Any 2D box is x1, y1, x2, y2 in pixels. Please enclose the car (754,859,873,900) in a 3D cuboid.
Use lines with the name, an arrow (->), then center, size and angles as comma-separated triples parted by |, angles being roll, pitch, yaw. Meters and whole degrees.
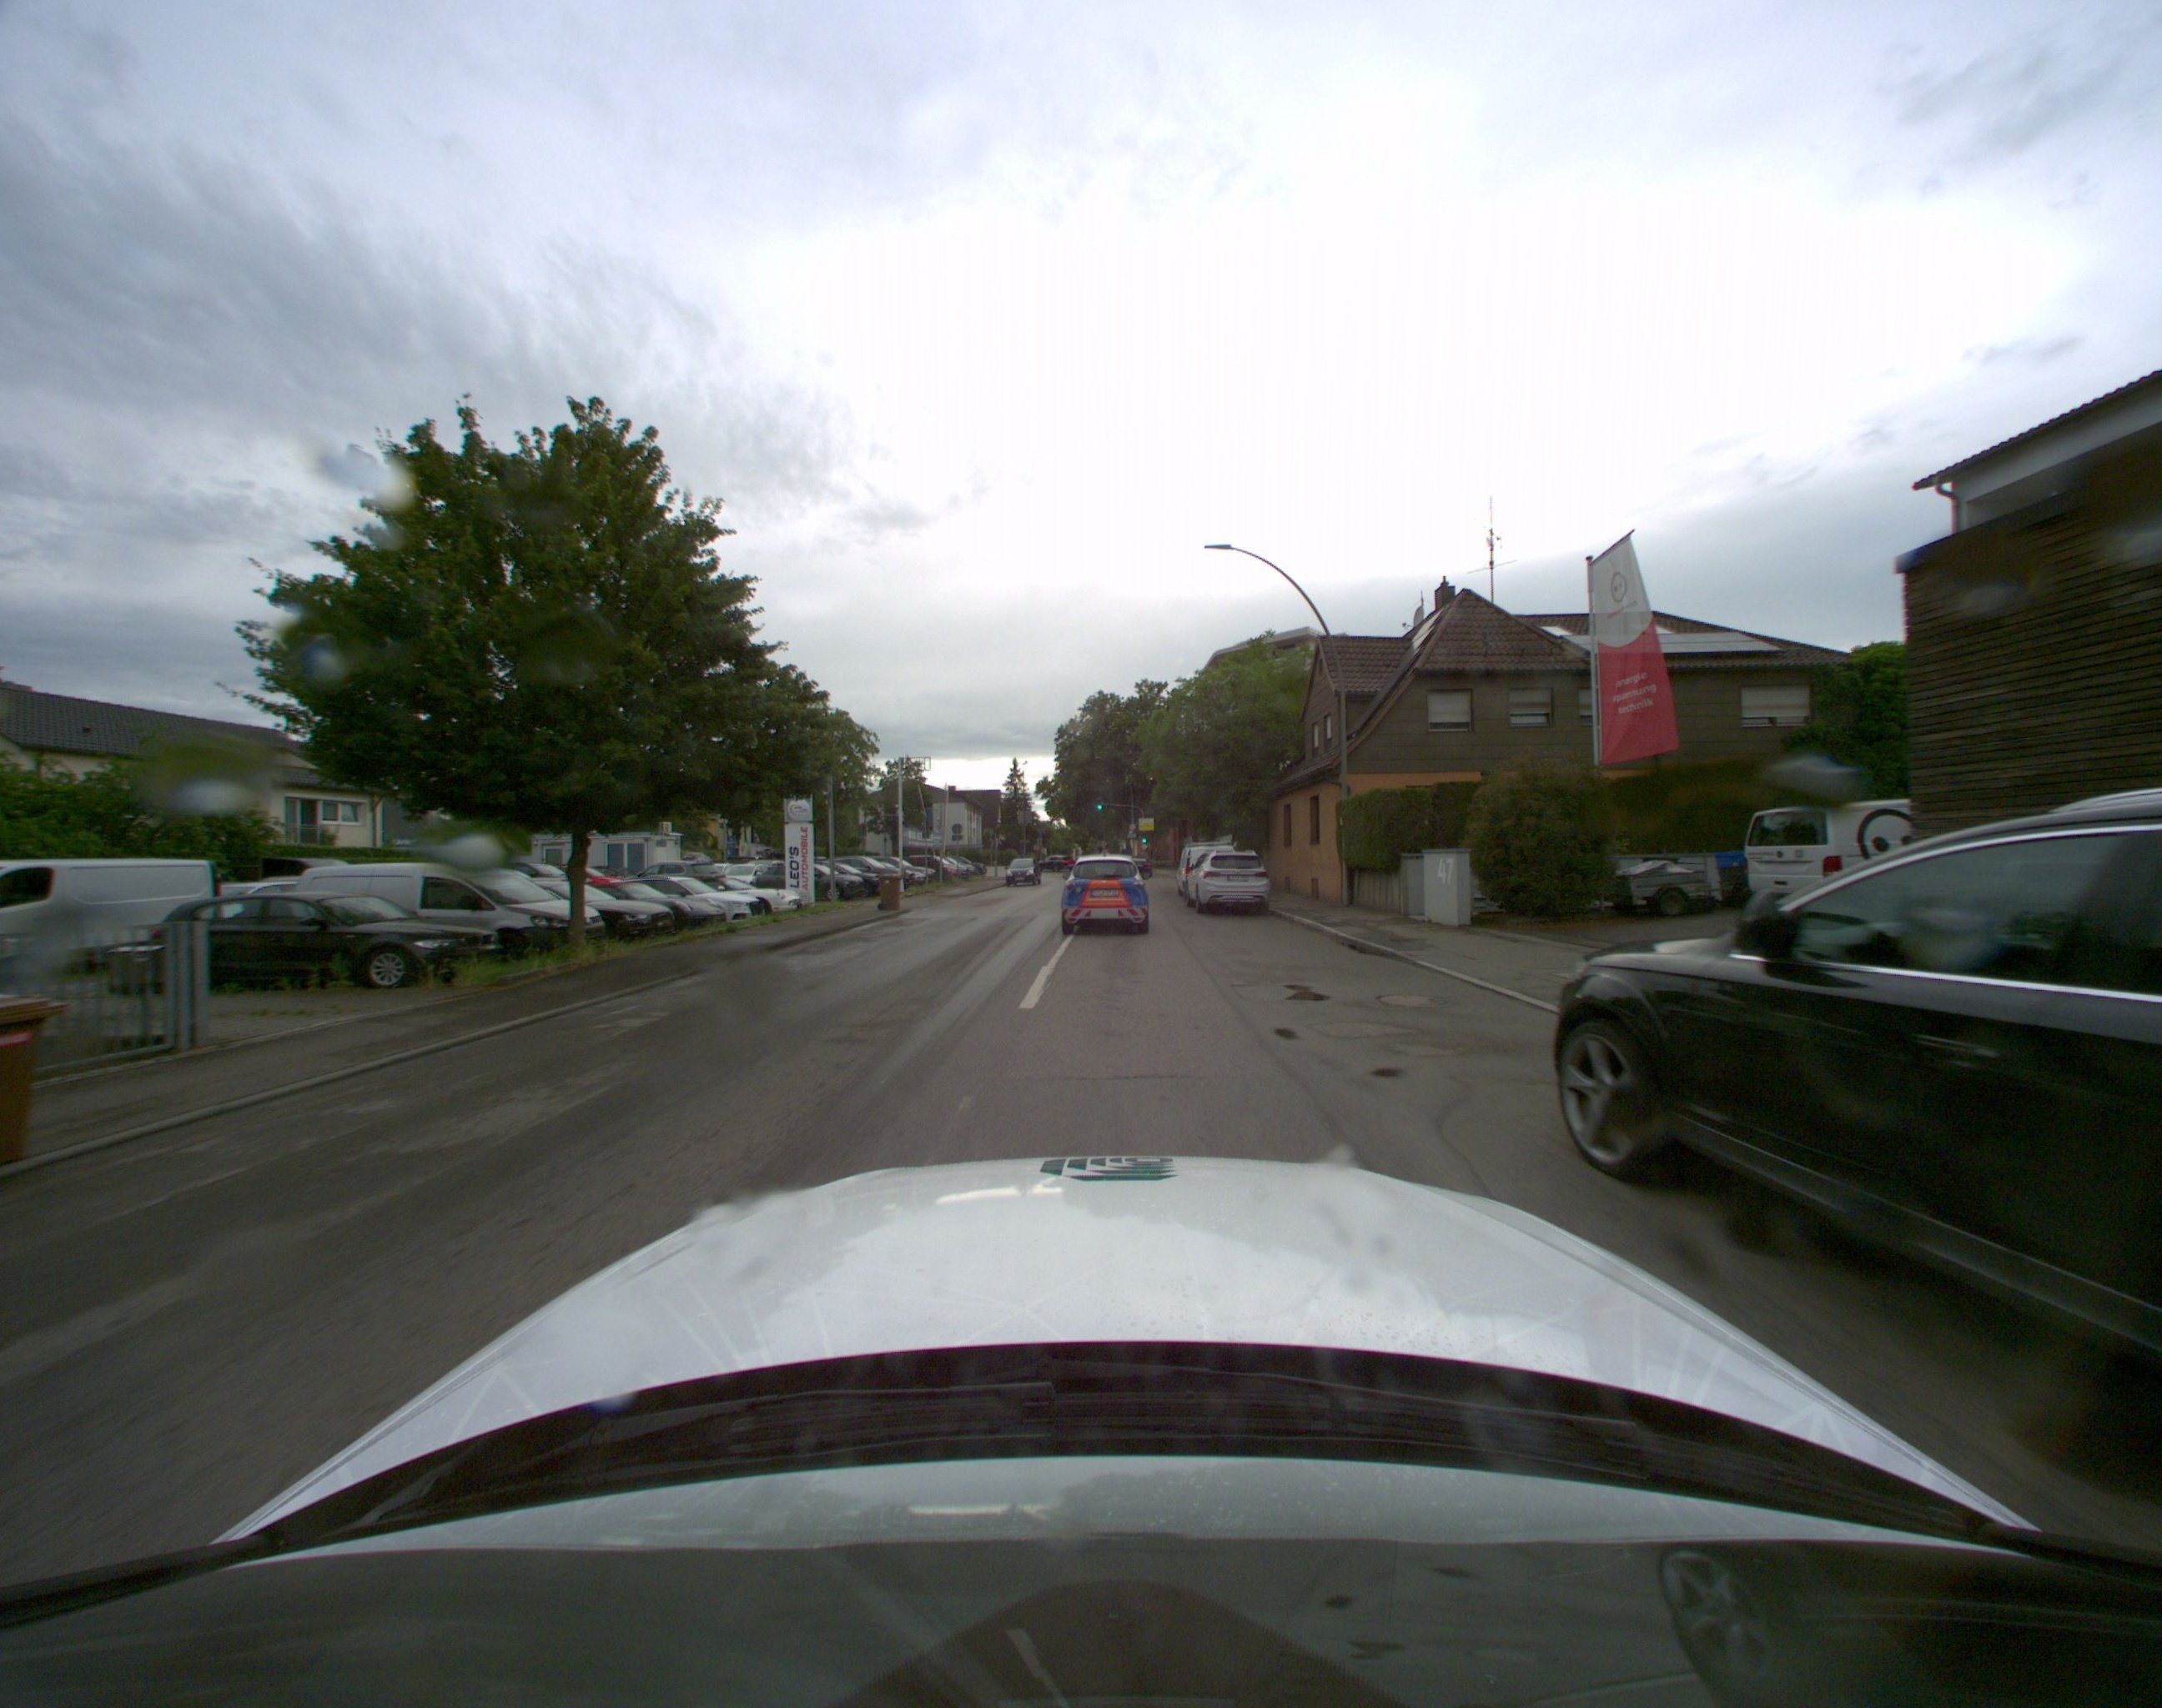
car -> -10.435, 0.980, 31.946 | 3.971, 1.464, 1.840 | -1, 0, 2

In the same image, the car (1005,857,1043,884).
car -> -3.155, 0.895, 45.463 | 1.619, 1.433, 3.687 | -1, 0, 3

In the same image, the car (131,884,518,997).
car -> -10.870, 1.199, 11.956 | 3.902, 1.372, 1.760 | -1, 0, -3

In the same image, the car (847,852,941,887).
car -> -9.618, 0.779, 42.097 | 4.330, 1.690, 1.960 | -1, 0, 2

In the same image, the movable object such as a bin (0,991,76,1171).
movable object such as a bin -> -6.128, 1.259, 4.519 | 0.538, 0.911, 0.424 | 2, 0, 0

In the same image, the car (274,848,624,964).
car -> -10.879, 0.844, 14.312 | 4.546, 1.790, 1.896 | -1, 0, -3

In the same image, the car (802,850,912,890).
car -> -10.125, 0.702, 37.014 | 4.330, 1.691, 2.060 | -1, 0, 2

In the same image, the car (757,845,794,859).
car -> -39.723, -0.322, 105.936 | 1.974, 1.723, 4.025 | 1, 1, 39

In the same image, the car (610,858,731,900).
car -> -15.722, 0.952, 31.233 | 3.953, 1.499, 1.947 | -1, 0, 20

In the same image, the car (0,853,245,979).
car -> -17.620, 0.980, 13.627 | 1.987, 1.930, 5.052 | -2, 0, 0

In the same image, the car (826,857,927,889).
car -> -9.889, 0.893, 39.609 | 4.330, 1.432, 1.960 | -1, 0, 2

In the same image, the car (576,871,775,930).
car -> -10.783, 1.213, 21.901 | 4.360, 1.374, 1.890 | -1, 0, 1

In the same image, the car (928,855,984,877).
car -> -9.027, 0.818, 58.797 | 3.944, 1.530, 1.618 | 0, 1, -9

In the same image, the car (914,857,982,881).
car -> -8.412, 0.922, 51.681 | 3.969, 1.441, 1.806 | 0, 0, 4

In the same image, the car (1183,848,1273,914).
car -> 4.016, 0.681, 22.959 | 1.859, 1.665, 4.321 | 0, 0, 1

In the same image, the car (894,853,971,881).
car -> -8.417, 0.710, 46.413 | 3.969, 1.544, 1.806 | 0, 0, 4

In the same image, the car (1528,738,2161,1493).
car -> 3.436, 0.572, 2.179 | 2.083, 1.662, 4.561 | 0, 1, 2

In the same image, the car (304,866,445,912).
car -> -26.332, 1.284, 30.436 | 3.719, 1.571, 1.789 | -1, 0, 3

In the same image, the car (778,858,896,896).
car -> -10.273, 0.942, 34.441 | 4.330, 1.464, 1.942 | -1, 0, 2

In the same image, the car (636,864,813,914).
car -> -10.523, 1.018, 24.230 | 4.435, 1.332, 1.772 | -1, 0, 1

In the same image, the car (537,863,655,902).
car -> -21.047, 1.232, 35.454 | 3.975, 1.530, 1.837 | -1, 0, -1

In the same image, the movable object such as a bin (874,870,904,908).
movable object such as a bin -> -5.804, 1.047, 24.600 | 0.705, 1.130, 0.735 | 0, 0, 2

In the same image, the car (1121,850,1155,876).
car -> 3.785, 0.536, 53.483 | 1.982, 1.574, 4.009 | 0, 1, 8

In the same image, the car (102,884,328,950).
car -> -20.076, 1.401, 19.121 | 1.656, 1.236, 3.528 | -1, 0, -4

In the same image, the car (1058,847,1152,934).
car -> 0.513, 0.668, 17.323 | 1.739, 1.581, 4.002 | -2, 1, 2

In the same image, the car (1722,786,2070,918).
car -> 14.249, -0.049, 14.398 | 4.452, 1.899, 1.858 | -4, 0, -4

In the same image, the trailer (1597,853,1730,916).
trailer -> 11.355, 0.573, 15.917 | 1.910, 1.034, 0.919 | -5, 0, -4

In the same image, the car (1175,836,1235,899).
car -> 4.334, 0.394, 28.996 | 1.769, 2.029, 4.760 | 0, 1, 4

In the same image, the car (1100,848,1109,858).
car -> 4.673, -0.165, 162.932 | 1.638, 2.017, 3.714 | 0, 1, -1

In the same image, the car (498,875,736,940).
car -> -10.891, 1.232, 19.358 | 4.541, 1.309, 1.890 | -1, 0, 1

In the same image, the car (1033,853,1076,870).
car -> -2.322, 0.634, 70.629 | 1.808, 1.428, 3.956 | -1, 1, -37

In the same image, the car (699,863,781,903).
car -> -14.680, 1.202, 35.324 | 1.684, 1.530, 4.002 | -2, 0, 2

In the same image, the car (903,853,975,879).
car -> -8.560, 0.713, 49.203 | 3.969, 1.544, 1.806 | 0, 0, 4

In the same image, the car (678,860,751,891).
car -> -18.543, 1.077, 41.397 | 1.684, 1.398, 4.002 | -2, 0, 2

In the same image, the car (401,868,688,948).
car -> -10.879, 1.064, 16.795 | 4.546, 1.418, 1.896 | -1, 0, -3
